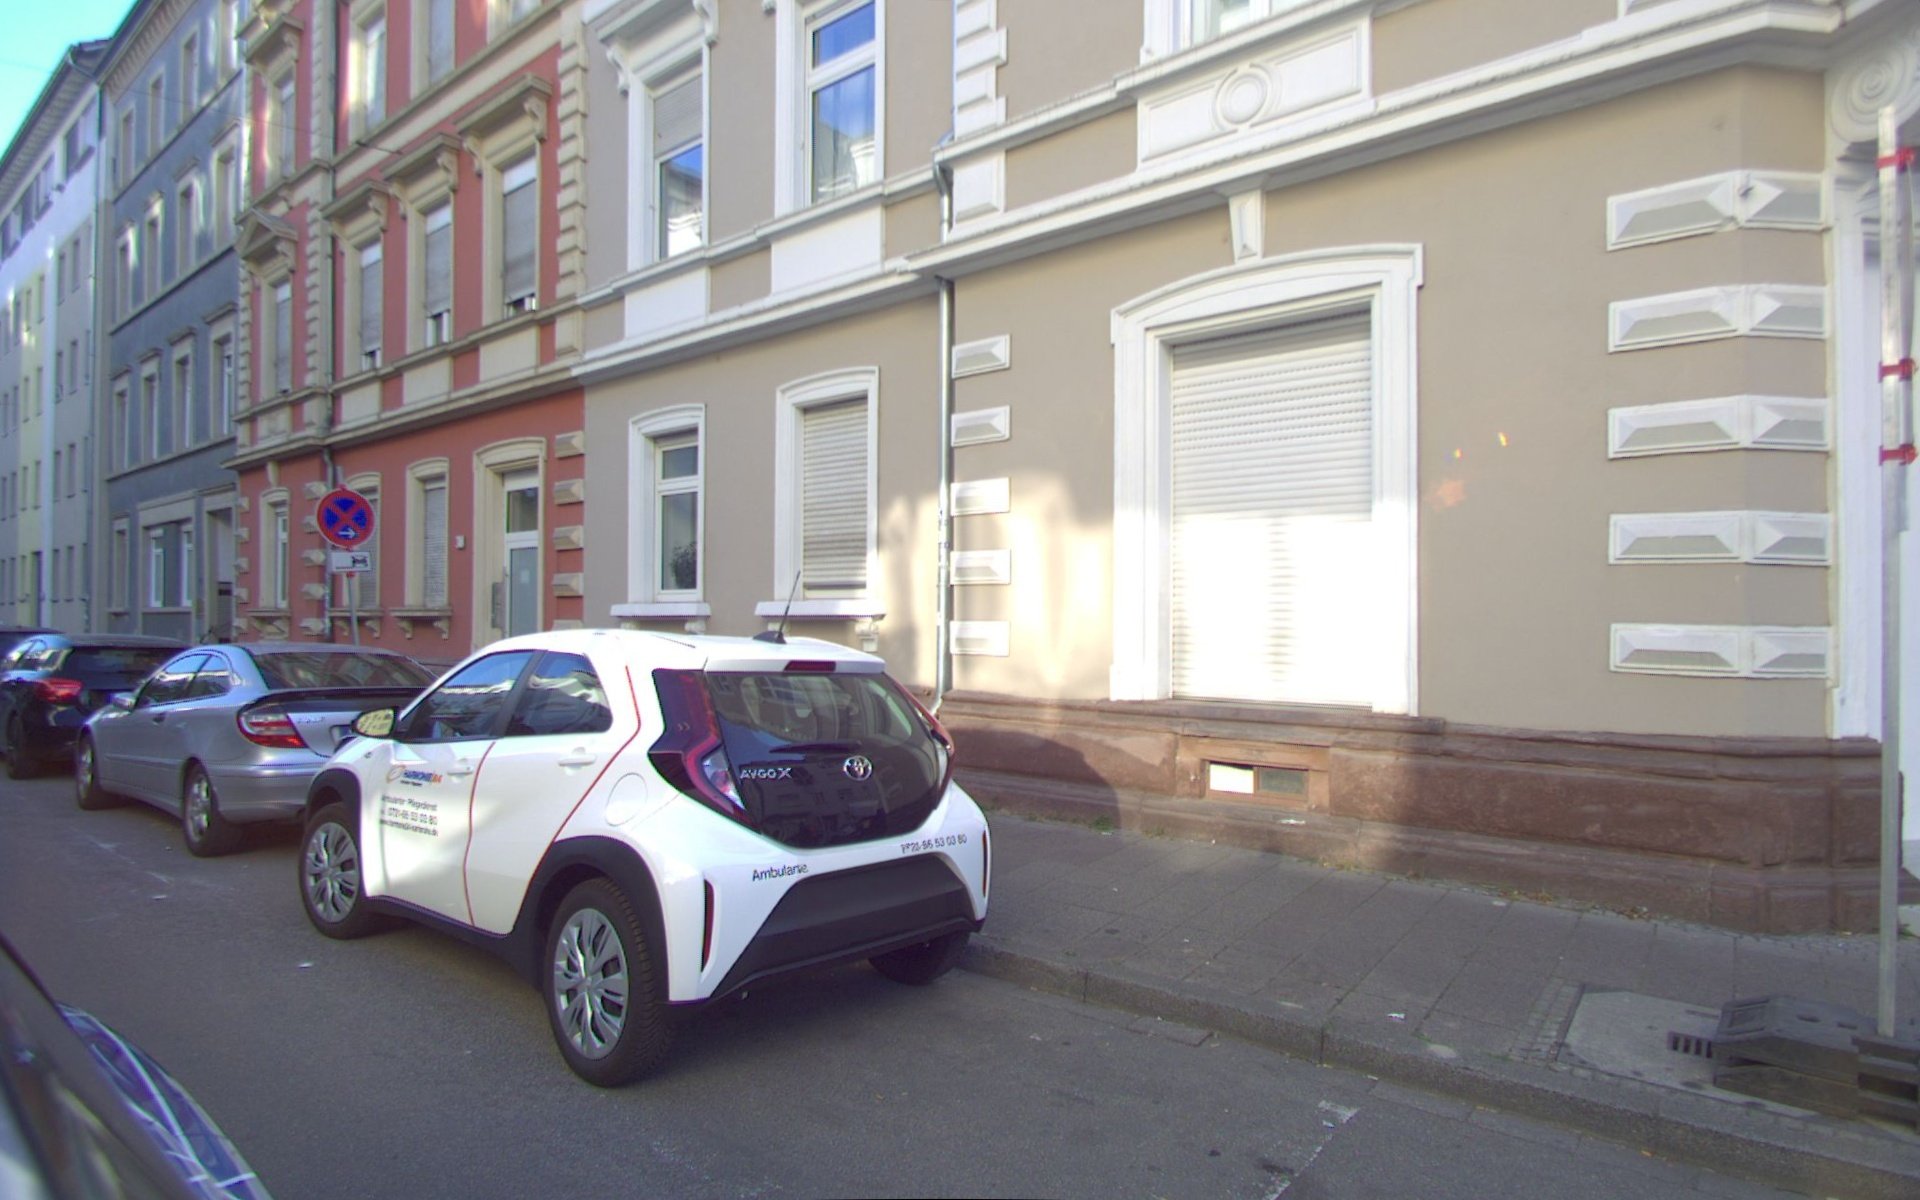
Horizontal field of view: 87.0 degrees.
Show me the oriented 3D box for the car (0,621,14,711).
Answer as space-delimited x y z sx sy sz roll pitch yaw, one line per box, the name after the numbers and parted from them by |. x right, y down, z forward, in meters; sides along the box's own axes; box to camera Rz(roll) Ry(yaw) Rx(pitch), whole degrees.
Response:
-18.454 1.147 18.096 4.423 1.534 1.578 -1 -1 38 | car

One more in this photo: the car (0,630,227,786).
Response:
-9.732 1.089 11.185 3.907 1.426 1.569 -1 -5 39 | car

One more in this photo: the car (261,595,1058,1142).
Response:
-1.619 0.825 4.720 3.841 1.507 1.667 -1 -5 40 | car

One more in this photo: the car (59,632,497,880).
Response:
-5.437 1.016 7.899 3.956 1.439 1.594 -1 -4 37 | car

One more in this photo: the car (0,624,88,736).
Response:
-14.518 1.107 15.005 4.189 1.510 1.519 -1 -3 37 | car
